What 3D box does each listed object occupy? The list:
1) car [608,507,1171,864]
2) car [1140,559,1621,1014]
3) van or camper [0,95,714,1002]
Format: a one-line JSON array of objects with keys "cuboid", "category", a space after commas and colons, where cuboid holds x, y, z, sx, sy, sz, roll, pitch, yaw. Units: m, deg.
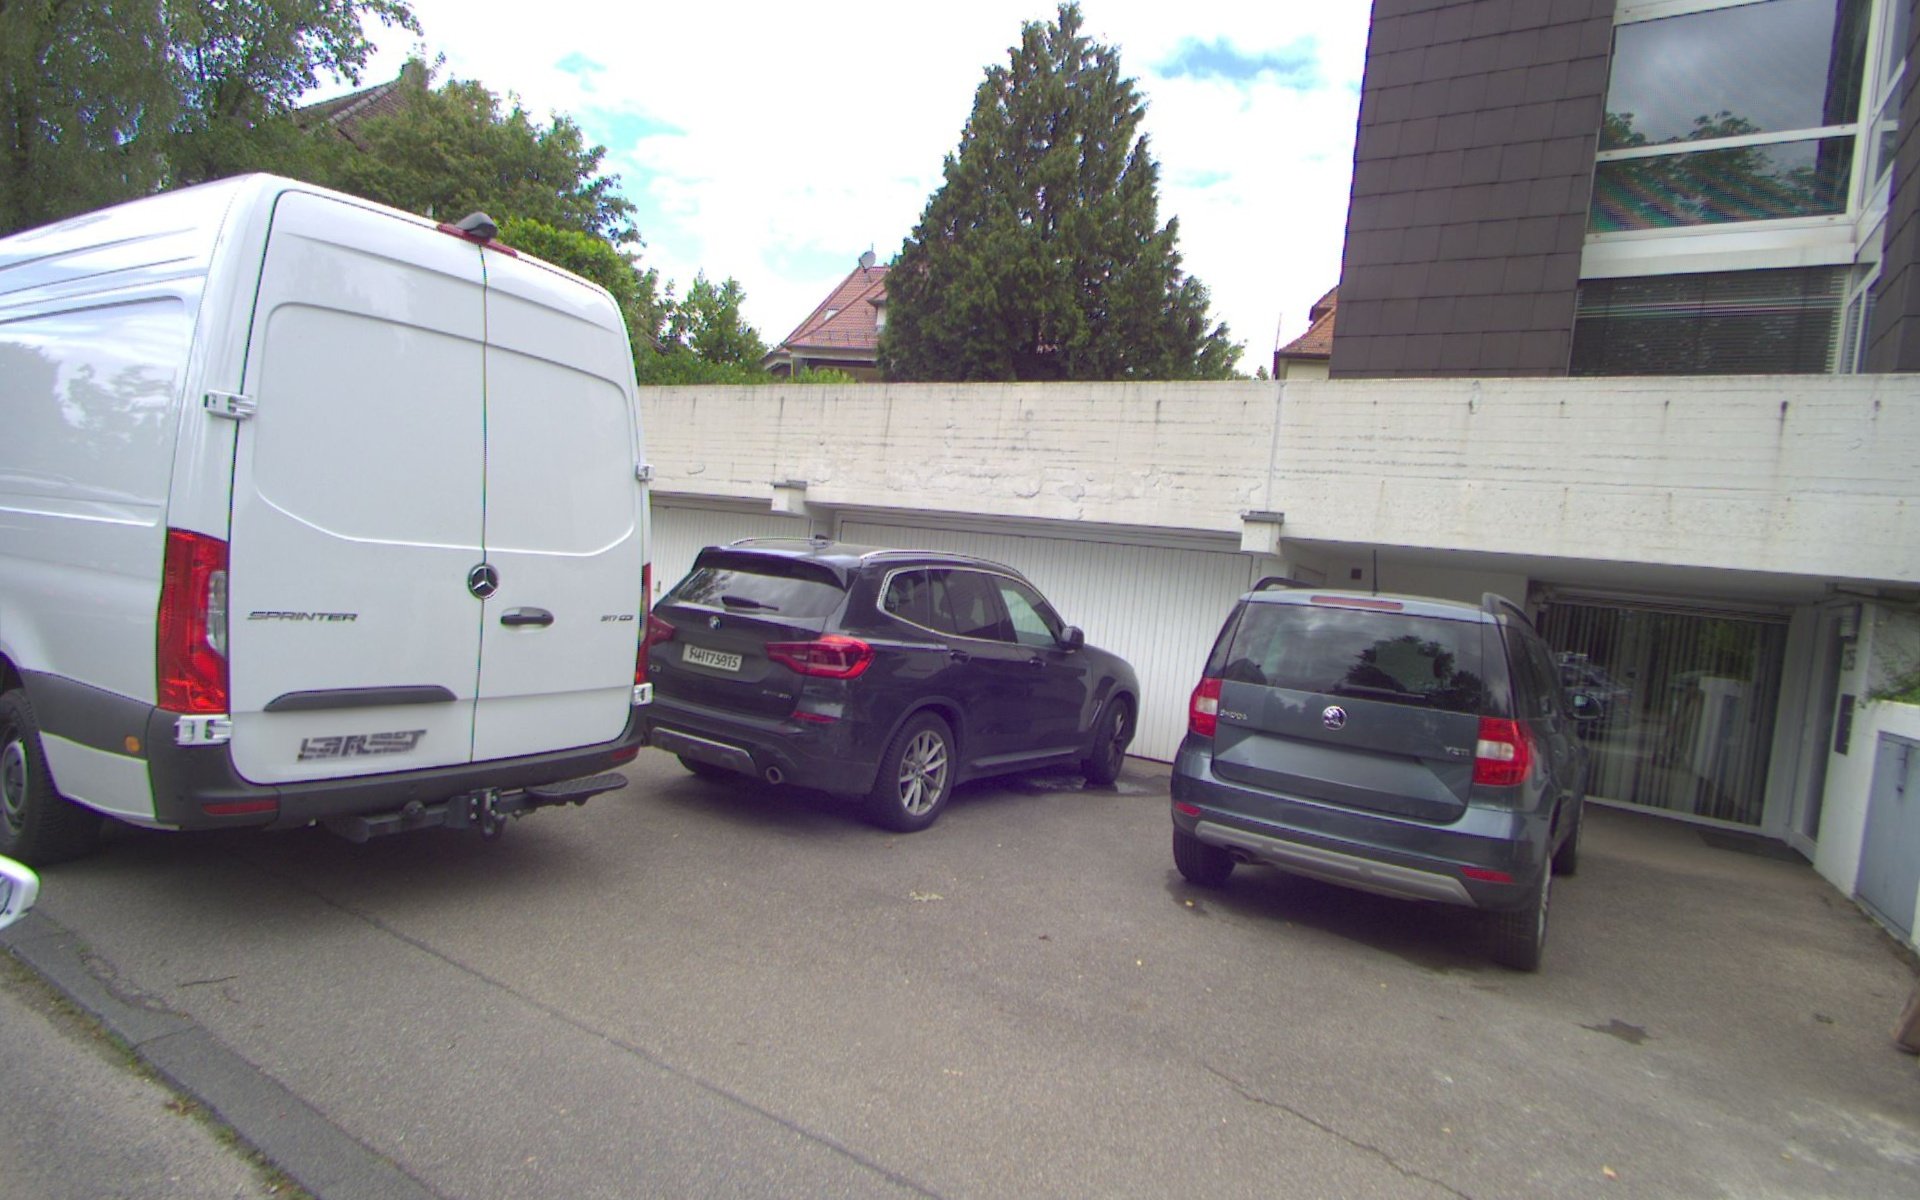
[{"cuboid": [-0.122, 0.480, 7.255, 1.668, 1.696, 4.383, 6, 1, 32], "category": "car"}, {"cuboid": [2.766, 0.807, 6.014, 1.717, 1.672, 3.899, 7, 1, 35], "category": "car"}, {"cuboid": [-4.446, -0.406, 5.497, 6.436, 2.662, 1.990, 6, 4, 32], "category": "van or camper"}]
